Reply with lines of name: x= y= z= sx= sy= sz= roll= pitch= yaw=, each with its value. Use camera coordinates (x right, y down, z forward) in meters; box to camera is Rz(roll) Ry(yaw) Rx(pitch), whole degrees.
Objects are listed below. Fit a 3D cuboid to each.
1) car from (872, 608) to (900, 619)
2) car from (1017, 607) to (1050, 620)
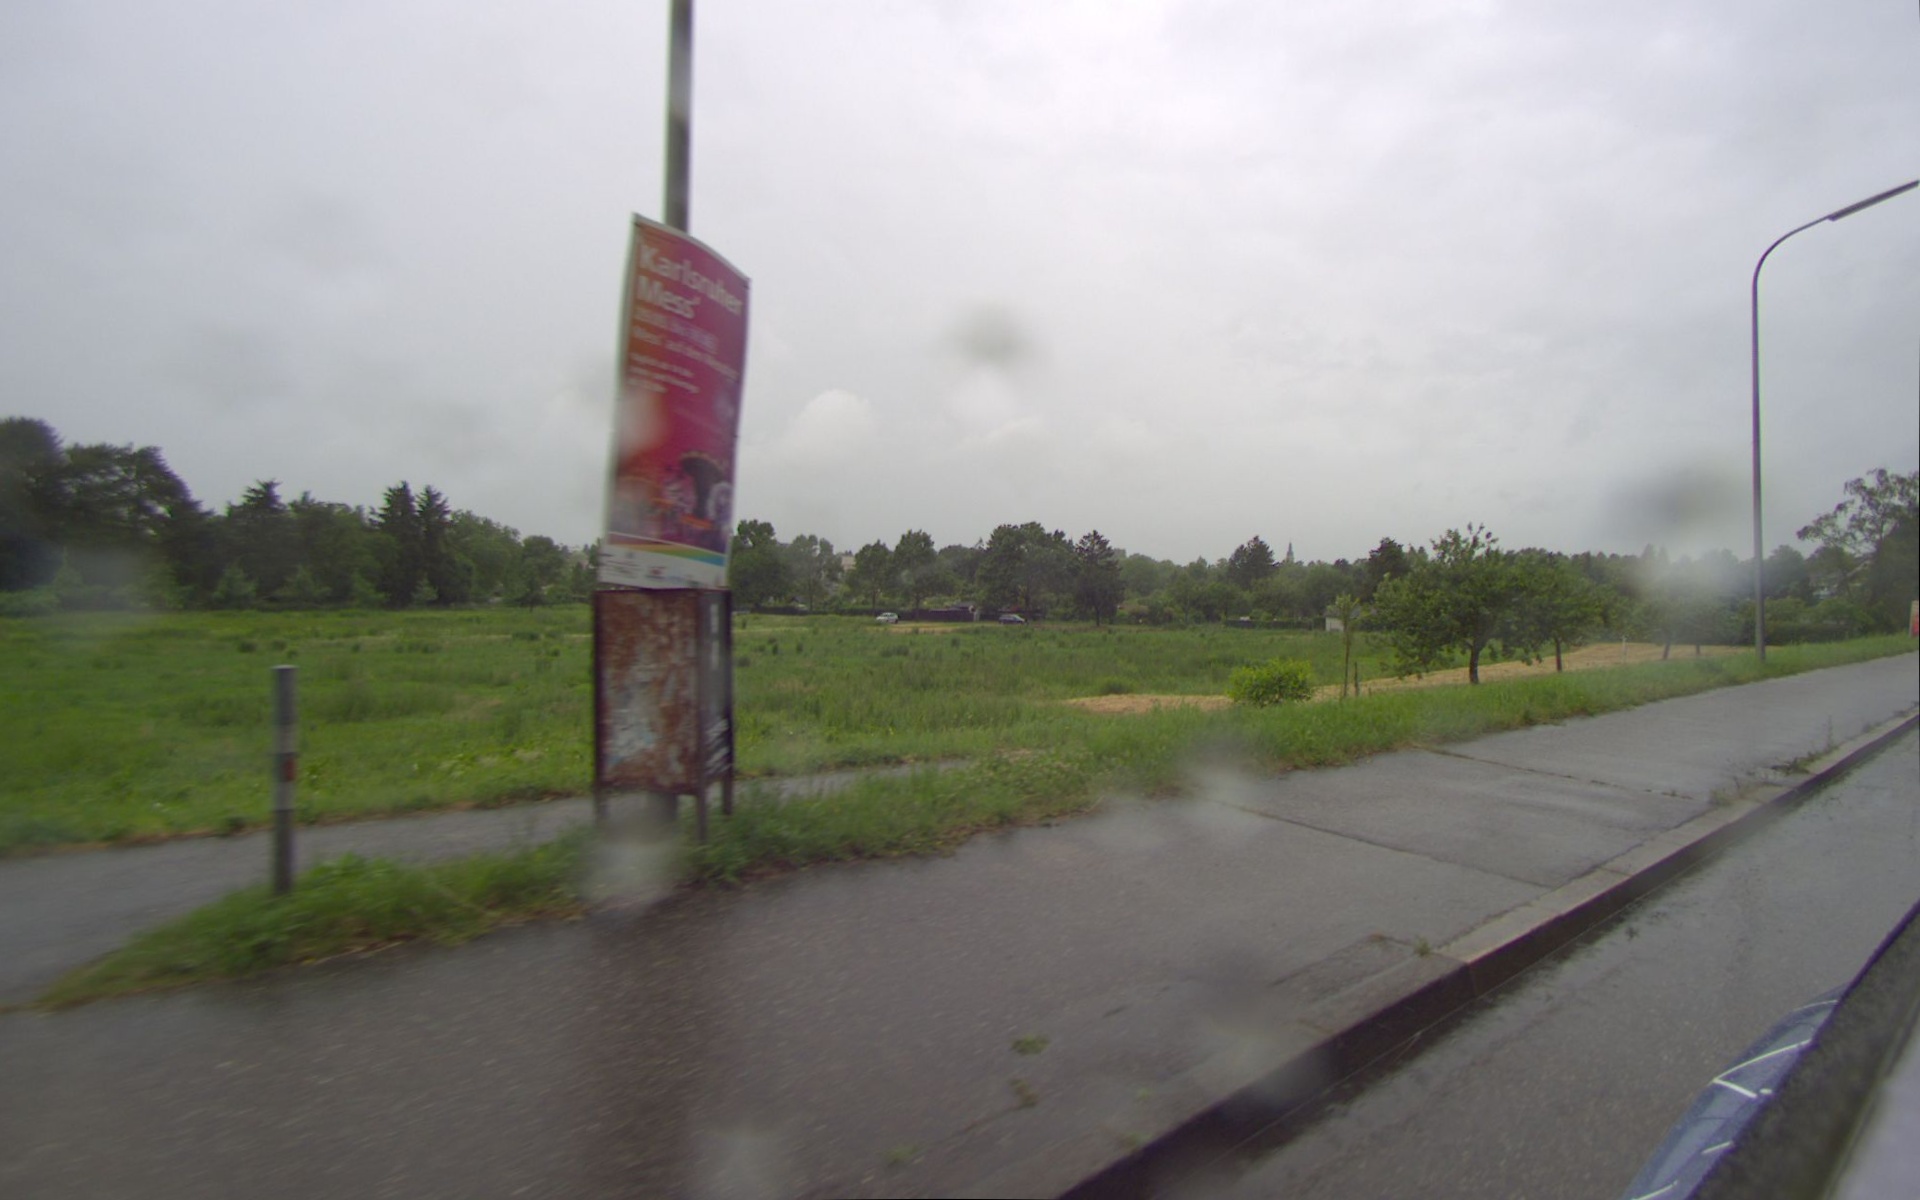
car: x=-10.014 y=1.830 z=137.450 sx=1.784 sy=1.529 sz=4.121 roll=0 pitch=0 yaw=30
car: x=9.305 y=1.760 z=128.944 sx=3.984 sy=1.529 sz=1.773 roll=1 pitch=1 yaw=42
